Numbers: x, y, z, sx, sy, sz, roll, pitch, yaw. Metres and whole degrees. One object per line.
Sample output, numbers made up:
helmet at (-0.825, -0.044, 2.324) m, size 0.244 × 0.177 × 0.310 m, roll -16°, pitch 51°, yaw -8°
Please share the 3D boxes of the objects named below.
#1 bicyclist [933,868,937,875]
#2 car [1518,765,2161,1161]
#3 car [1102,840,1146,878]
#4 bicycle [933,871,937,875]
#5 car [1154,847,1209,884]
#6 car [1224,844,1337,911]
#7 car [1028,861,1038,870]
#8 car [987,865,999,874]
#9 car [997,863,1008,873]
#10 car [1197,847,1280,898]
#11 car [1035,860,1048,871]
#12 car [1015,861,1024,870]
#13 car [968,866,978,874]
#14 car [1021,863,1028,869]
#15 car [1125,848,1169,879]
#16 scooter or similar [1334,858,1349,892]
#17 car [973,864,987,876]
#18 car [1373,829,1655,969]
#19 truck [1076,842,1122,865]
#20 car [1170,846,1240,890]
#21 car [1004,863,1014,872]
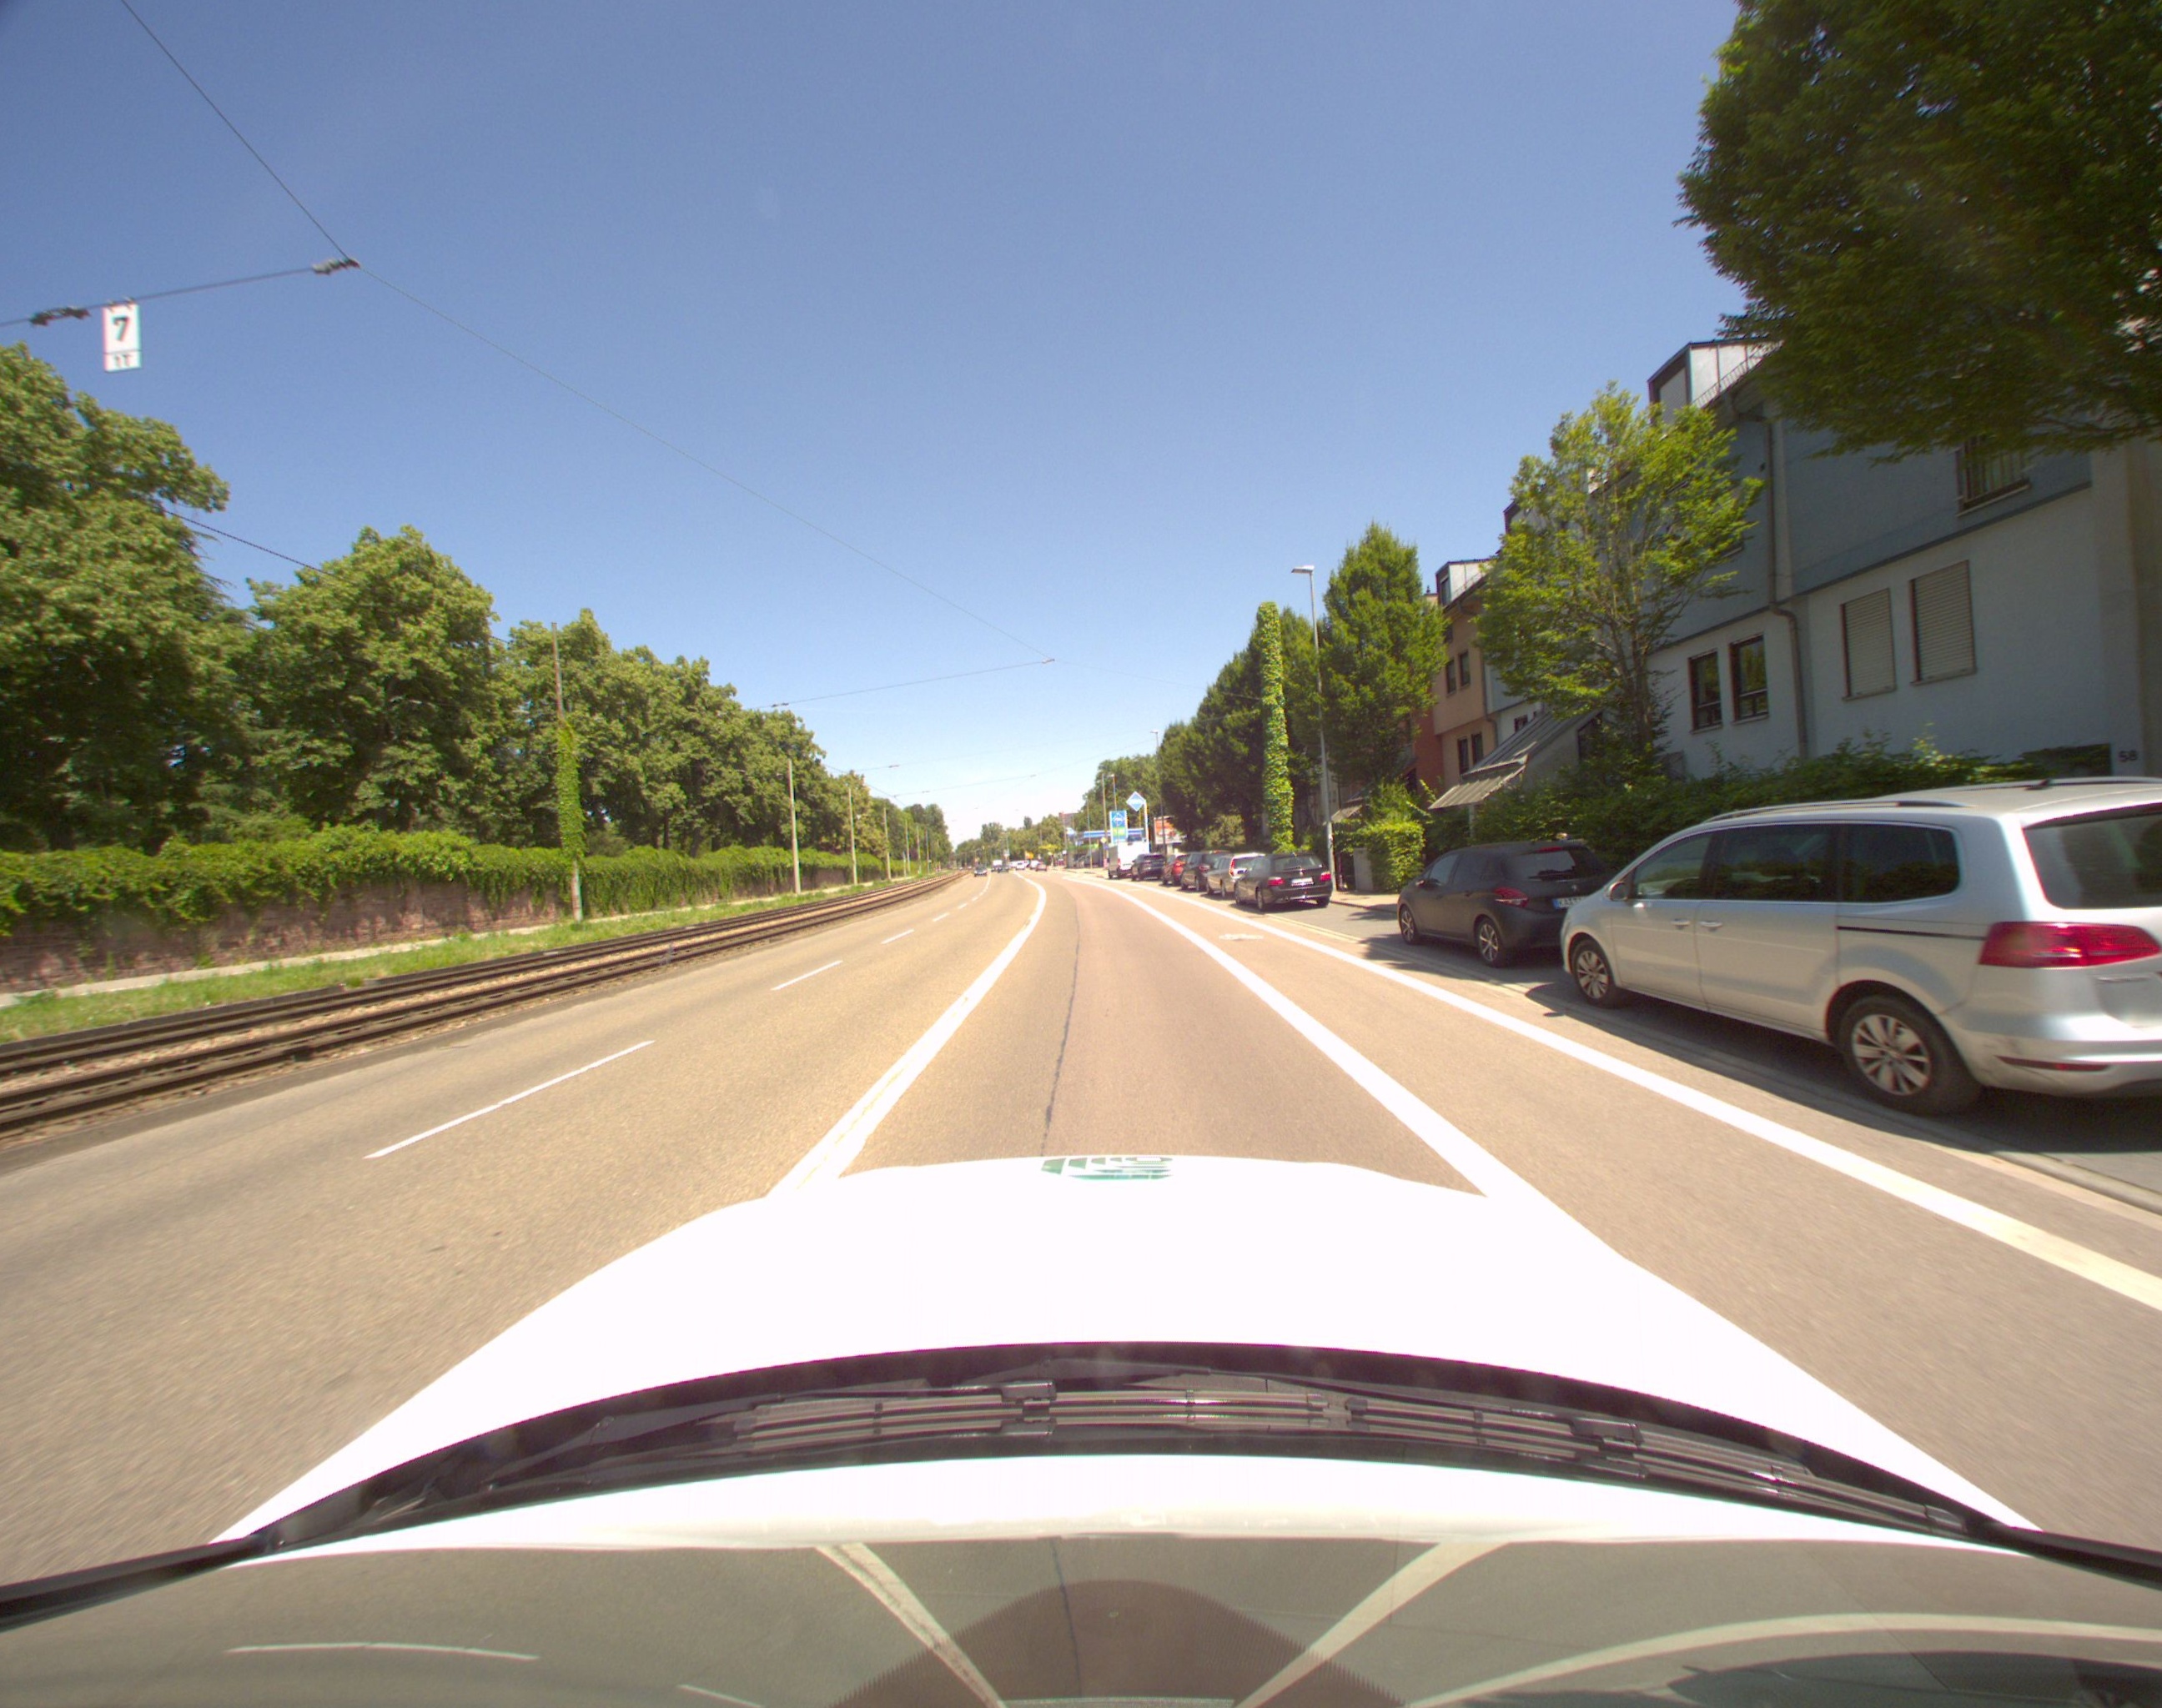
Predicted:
bicyclist at (-34.541, 4.118, 192.436) m, size 0.680 × 1.574 × 0.795 m, roll -8°, pitch -1°, yaw -2°
car at (5.362, 0.424, 5.981) m, size 1.833 × 1.694 × 4.782 m, roll -6°, pitch 0°, yaw 3°
car at (3.124, 0.374, 60.113) m, size 1.999 × 2.456 × 6.094 m, roll -5°, pitch 0°, yaw -7°
bicycle at (-34.487, 4.500, 192.421) m, size 0.679 × 1.054 × 2.008 m, roll -8°, pitch -1°, yaw -1°
car at (4.874, 0.535, 39.920) m, size 1.704 × 1.562 × 4.316 m, roll -6°, pitch 0°, yaw -5°
car at (5.410, 0.594, 22.778) m, size 1.702 × 1.492 × 5.036 m, roll -6°, pitch 0°, yaw -1°
car at (-9.984, 2.333, 170.395) m, size 1.754 × 1.630 × 4.314 m, roll -6°, pitch 0°, yaw -6°
car at (-18.149, 3.168, 167.830) m, size 1.757 × 1.630 × 4.306 m, roll -5°, pitch 0°, yaw -11°
car at (-13.481, 2.411, 140.260) m, size 1.754 × 1.630 × 4.314 m, roll -6°, pitch 0°, yaw -6°
car at (5.405, 0.602, 28.548) m, size 1.702 × 1.492 × 4.727 m, roll -6°, pitch 0°, yaw -2°
car at (-6.483, 1.968, 134.559) m, size 1.754 × 1.630 × 4.314 m, roll -6°, pitch 0°, yaw -6°
car at (-12.789, 2.402, 168.968) m, size 1.754 × 1.875 × 4.314 m, roll -4°, pitch 0°, yaw -6°
car at (-24.021, 3.627, 181.051) m, size 1.757 × 1.630 × 4.306 m, roll -5°, pitch 0°, yaw -11°
car at (-16.454, 3.424, 236.491) m, size 1.754 × 1.630 × 4.314 m, roll -6°, pitch 0°, yaw -6°
car at (3.992, 0.570, 49.945) m, size 1.754 × 1.630 × 4.314 m, roll -6°, pitch 0°, yaw -6°
scooter or similar at (7.976, 0.631, 24.967) m, size 0.331 × 1.031 × 1.086 m, roll -1°, pitch -1°, yaw 13°
car at (-13.846, 2.161, 111.608) m, size 1.754 × 1.509 × 4.314 m, roll -6°, pitch 0°, yaw -6°
car at (5.626, 0.510, 11.263) m, size 1.578 × 1.423 × 4.180 m, roll -6°, pitch 0°, yaw 0°
truck at (3.213, -0.062, 144.245) m, size 7.943 × 3.602 × 2.662 m, roll -3°, pitch 0°, yaw -1°
car at (5.102, 0.584, 33.987) m, size 1.705 × 1.562 × 4.314 m, roll -6°, pitch 0°, yaw -6°
car at (-14.715, 2.769, 166.503) m, size 1.753 × 1.630 × 4.316 m, roll -6°, pitch 0°, yaw -5°
